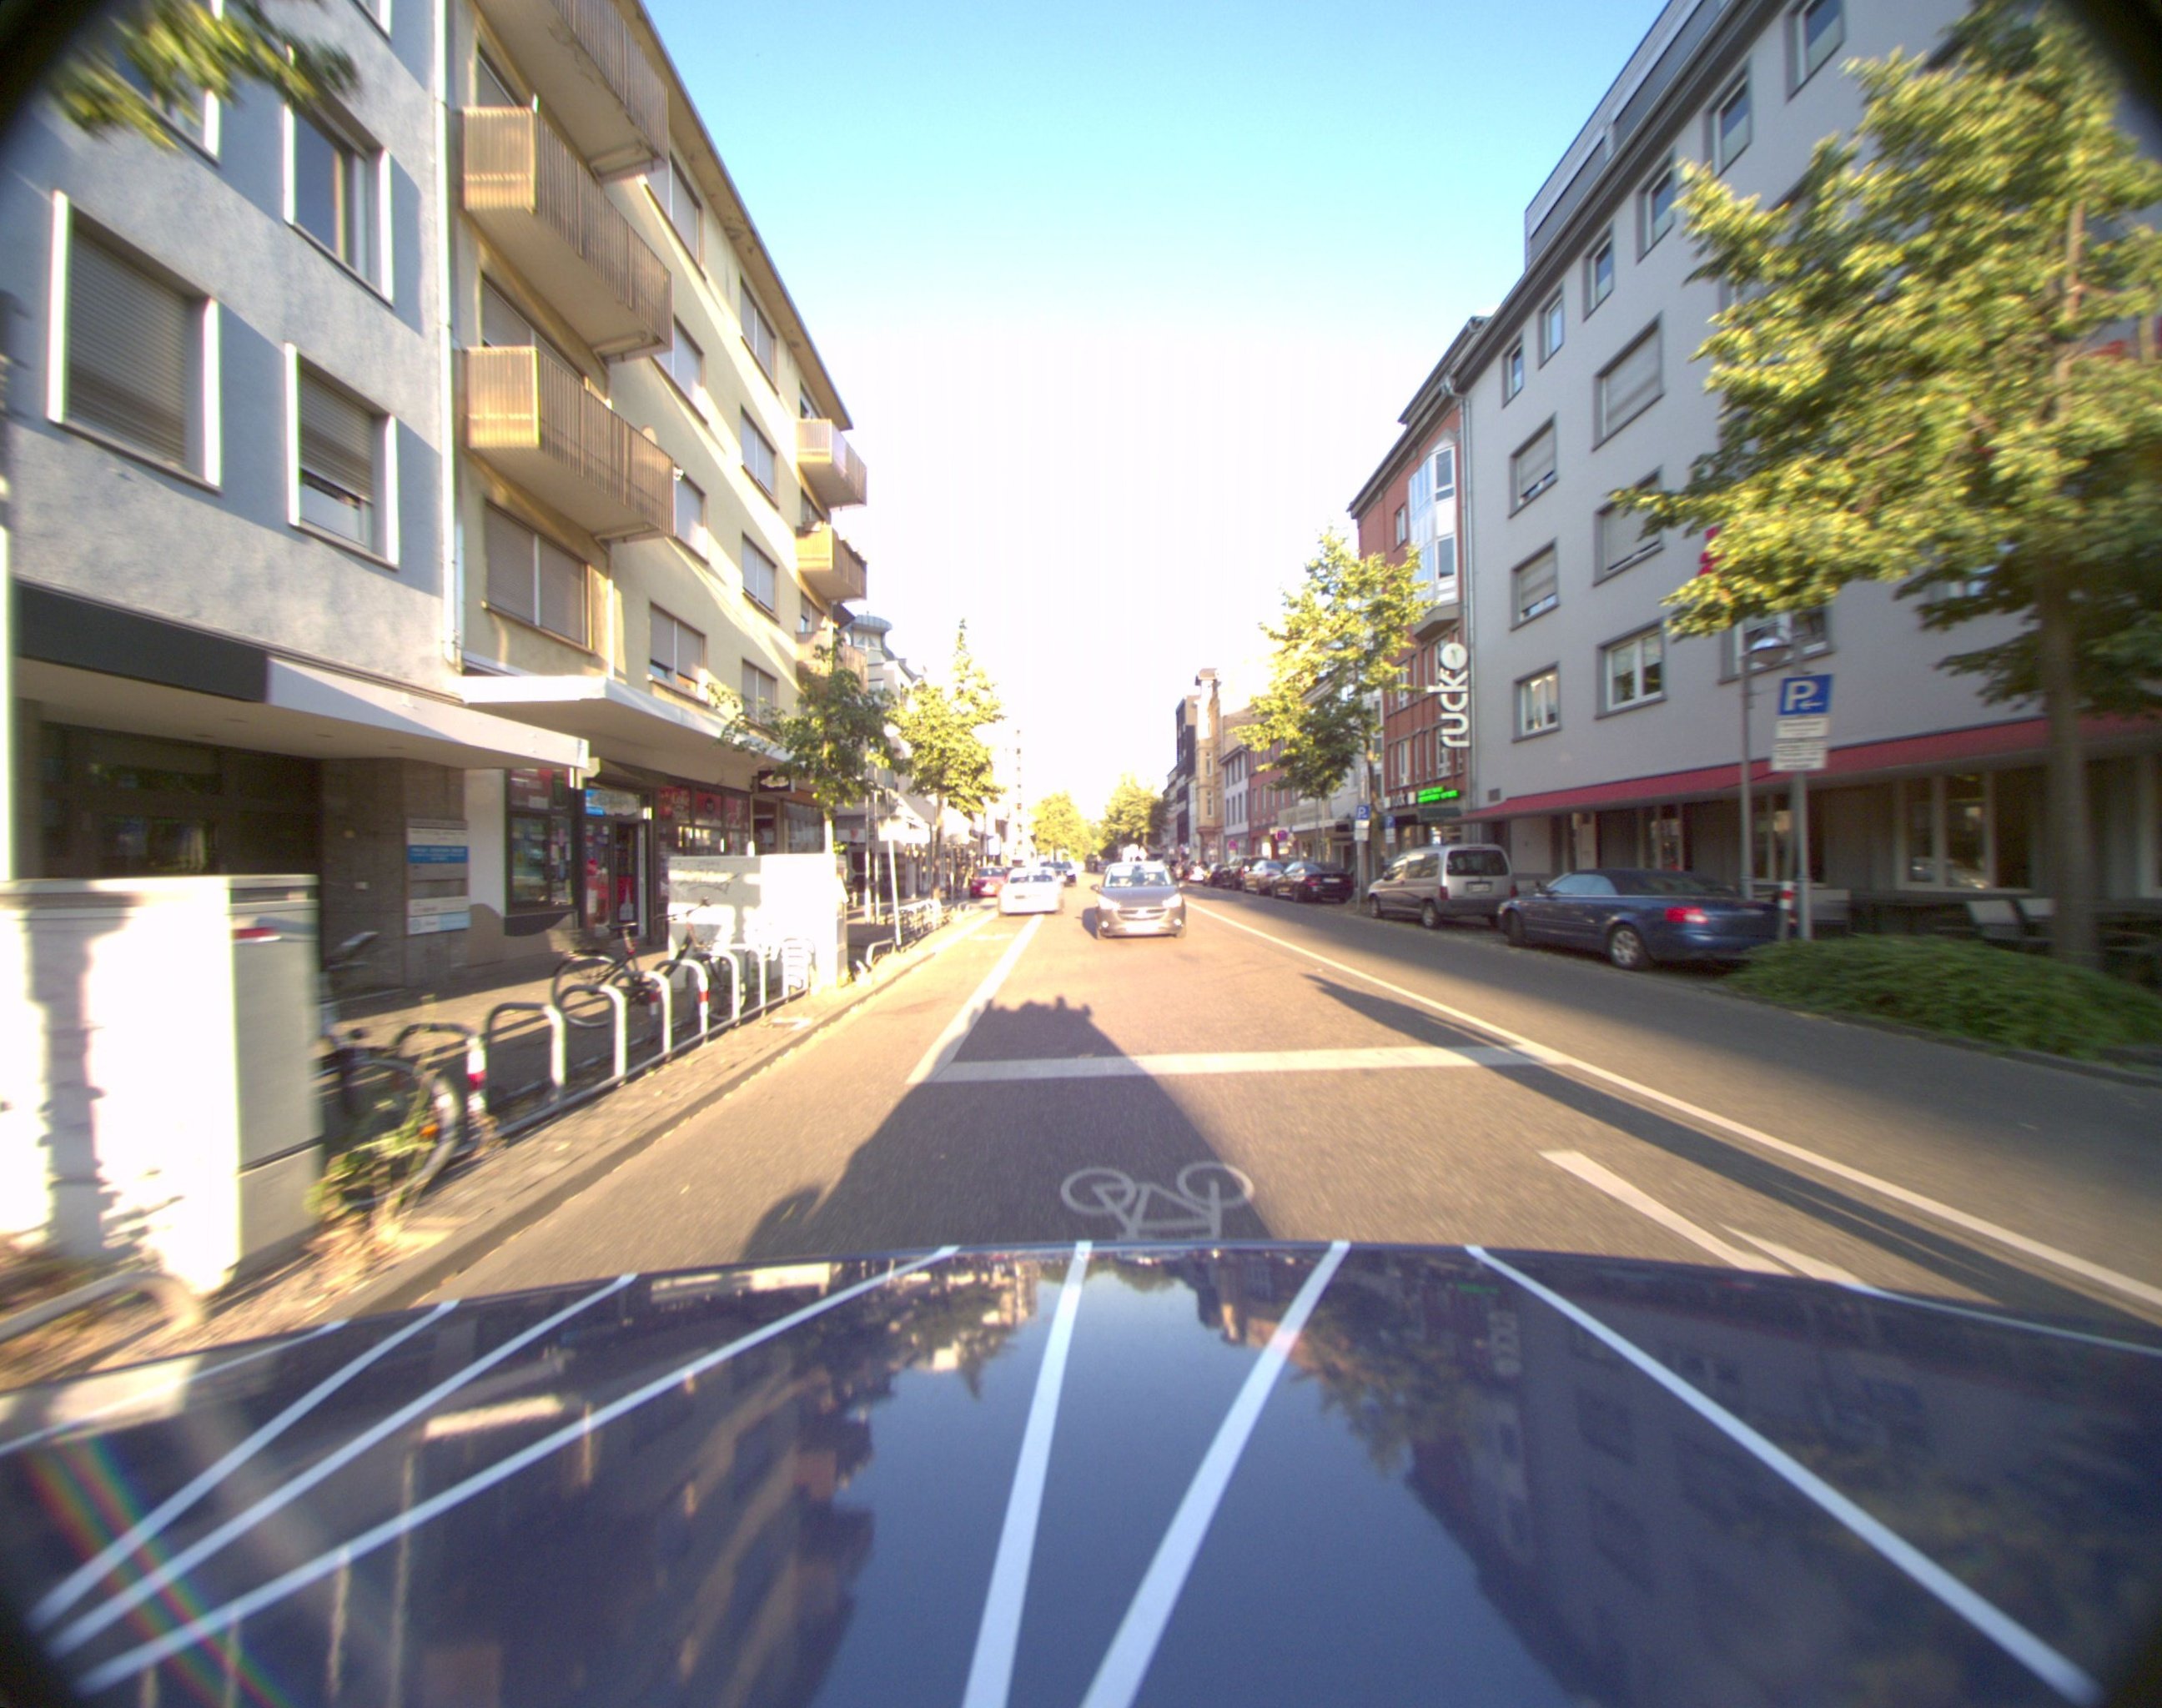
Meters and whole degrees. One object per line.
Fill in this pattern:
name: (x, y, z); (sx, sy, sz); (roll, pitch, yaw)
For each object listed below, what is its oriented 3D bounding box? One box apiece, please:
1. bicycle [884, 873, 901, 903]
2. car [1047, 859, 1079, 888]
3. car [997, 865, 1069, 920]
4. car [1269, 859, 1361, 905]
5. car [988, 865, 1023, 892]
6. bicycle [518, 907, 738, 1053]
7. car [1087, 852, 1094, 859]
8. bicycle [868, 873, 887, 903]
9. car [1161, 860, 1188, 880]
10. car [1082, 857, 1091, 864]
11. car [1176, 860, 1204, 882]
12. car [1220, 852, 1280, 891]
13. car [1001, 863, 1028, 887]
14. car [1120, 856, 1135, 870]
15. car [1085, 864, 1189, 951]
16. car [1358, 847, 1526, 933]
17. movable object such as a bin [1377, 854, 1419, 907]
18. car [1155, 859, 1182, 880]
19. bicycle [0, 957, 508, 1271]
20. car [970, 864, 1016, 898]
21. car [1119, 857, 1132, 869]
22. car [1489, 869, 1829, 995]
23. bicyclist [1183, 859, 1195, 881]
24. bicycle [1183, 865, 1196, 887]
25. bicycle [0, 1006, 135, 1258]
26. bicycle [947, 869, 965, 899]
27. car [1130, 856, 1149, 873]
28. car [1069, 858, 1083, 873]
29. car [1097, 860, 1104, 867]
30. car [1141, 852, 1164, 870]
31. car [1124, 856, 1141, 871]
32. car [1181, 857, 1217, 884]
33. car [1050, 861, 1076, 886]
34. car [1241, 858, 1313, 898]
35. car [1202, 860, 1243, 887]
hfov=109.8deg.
bicycle: (-7.767, 1.373, 31.320); (0.331, 1.123, 2.011); (0, 0, -4)
car: (-1.083, 1.172, 47.344); (1.896, 1.632, 3.749); (-2, 0, 0)
car: (-1.356, 1.098, 23.173); (1.790, 1.361, 4.573); (-3, 0, 1)
car: (8.096, 0.930, 26.709); (1.804, 1.385, 4.417); (-1, 0, -1)
car: (-4.188, 1.333, 42.517); (1.614, 1.386, 3.694); (-3, 0, -1)
bicycle: (-4.147, 1.131, 7.057); (1.663, 1.187, 0.493); (-1, 0, -12)
car: (2.199, 0.322, 181.240); (1.672, 1.630, 3.256); (-3, 1, 1)
bicycle: (-8.381, 1.382, 31.281); (0.331, 1.123, 2.011); (-1, 0, -4)
car: (7.711, 1.303, 63.043); (1.791, 1.504, 3.778); (-2, 0, 0)
car: (1.154, 1.379, 166.601); (1.615, 1.463, 3.227); (-3, 0, 5)
car: (8.432, 1.309, 59.148); (1.685, 1.580, 3.516); (-1, 0, 1)
car: (8.608, 0.892, 39.235); (1.973, 1.872, 4.948); (-1, -1, 0)
car: (-4.307, 1.329, 49.678); (1.431, 1.442, 3.380); (-2, 0, -1)
car: (6.133, 1.220, 100.417); (1.787, 1.762, 3.872); (-1, 0, 0)
car: (0.998, 0.966, 15.279); (1.587, 1.445, 3.841); (-1, 0, -3)
car: (8.009, 0.713, 17.321); (1.719, 1.654, 3.998); (-3, 0, -3)
movable object such as a bin: (9.555, 0.794, 22.946); (0.747, 1.526, 1.101); (-3, 0, 0)
car: (7.703, 1.310, 67.441); (1.881, 1.667, 4.036); (-3, 0, 0)
bicycle: (-3.674, 1.122, 3.469); (1.662, 1.187, 0.477); (-1, 0, -5)
car: (-4.048, 1.234, 35.491); (1.653, 1.420, 4.000); (-3, -1, 0)
car: (6.451, 1.263, 110.124); (1.765, 1.762, 3.872); (-1, 0, 0)
car: (7.958, 0.958, 11.094); (1.653, 1.345, 4.311); (-1, 0, -1)
bicyclist: (6.453, 0.969, 45.397); (0.569, 1.295, 0.660); (-3, 1, -1)
bicycle: (6.462, 1.327, 45.358); (0.420, 1.230, 1.694); (-3, 1, -2)
bicycle: (-4.871, 1.251, 2.957); (0.404, 1.004, 1.669); (1, -1, -5)
bicycle: (-5.397, 1.273, 32.799); (0.505, 1.230, 1.712); (0, 0, -1)
car: (6.284, 1.137, 82.405); (1.765, 1.762, 3.872); (-1, 0, 0)
car: (-0.632, 1.382, 94.405); (1.692, 1.644, 3.733); (-3, 0, 0)
car: (5.689, 2.852, 220.233); (1.845, 1.795, 3.585); (-3, 1, 5)
car: (6.953, 0.630, 74.503); (1.795, 1.606, 3.972); (-3, 0, 0)
car: (6.249, 1.178, 91.894); (1.765, 1.762, 3.872); (-1, 0, 0)
car: (8.329, 1.139, 53.984); (1.876, 1.718, 4.140); (-1, 0, 0)
car: (-1.252, 1.304, 52.390); (1.691, 1.533, 3.730); (-3, 0, -2)
car: (8.234, 0.970, 32.351); (1.895, 1.590, 4.945); (0, 0, 1)
car: (8.414, 1.124, 45.351); (1.736, 1.515, 3.842); (-1, 0, 0)
